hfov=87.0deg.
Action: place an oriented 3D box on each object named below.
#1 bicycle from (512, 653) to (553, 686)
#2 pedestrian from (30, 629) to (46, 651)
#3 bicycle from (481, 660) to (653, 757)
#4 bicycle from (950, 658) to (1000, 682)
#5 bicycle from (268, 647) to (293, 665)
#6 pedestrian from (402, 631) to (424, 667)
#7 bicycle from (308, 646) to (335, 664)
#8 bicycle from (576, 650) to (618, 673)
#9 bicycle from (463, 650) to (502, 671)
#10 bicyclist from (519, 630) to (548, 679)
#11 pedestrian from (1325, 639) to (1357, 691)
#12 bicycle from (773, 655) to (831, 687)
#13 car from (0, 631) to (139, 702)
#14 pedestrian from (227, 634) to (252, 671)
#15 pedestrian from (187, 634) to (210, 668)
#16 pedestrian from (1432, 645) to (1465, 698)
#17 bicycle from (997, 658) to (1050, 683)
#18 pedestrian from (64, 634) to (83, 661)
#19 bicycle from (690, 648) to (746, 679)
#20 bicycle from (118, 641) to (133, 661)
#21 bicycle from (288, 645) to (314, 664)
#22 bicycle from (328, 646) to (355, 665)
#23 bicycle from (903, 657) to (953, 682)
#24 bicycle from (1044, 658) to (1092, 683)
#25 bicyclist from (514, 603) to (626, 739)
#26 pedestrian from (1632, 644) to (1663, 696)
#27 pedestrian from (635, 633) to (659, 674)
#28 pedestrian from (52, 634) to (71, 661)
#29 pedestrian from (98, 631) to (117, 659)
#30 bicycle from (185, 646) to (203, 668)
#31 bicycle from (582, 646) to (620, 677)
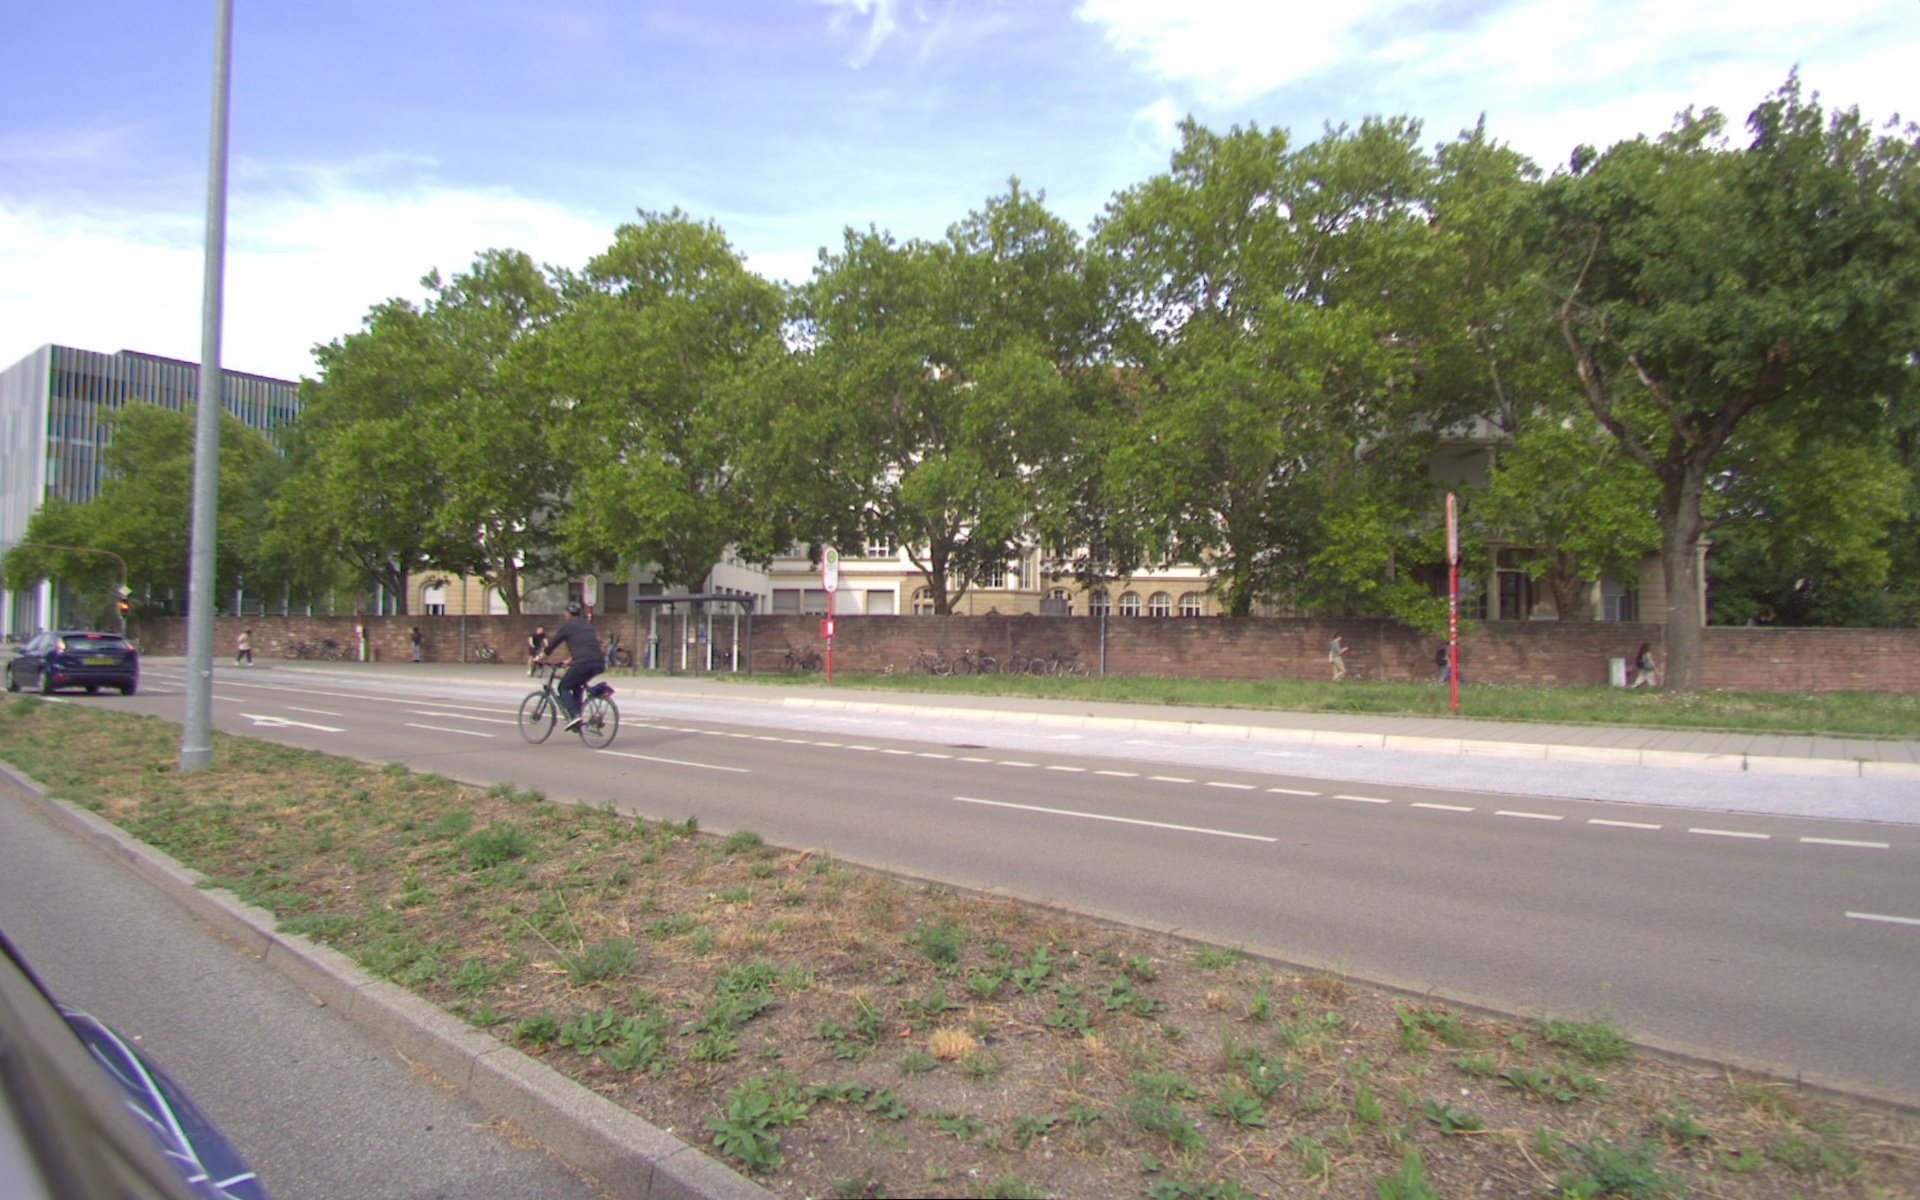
[{"bbox_3d":[-14.017,2.256,33.176,1.973,0.943,0.498,1,-1,45],"label":"bicycle"},{"bbox_3d":[-71.150,3.096,78.084,0.664,1.634,0.746,-1,-1,34],"label":"pedestrian"},{"bbox_3d":[-5.181,1.409,13.369,2.081,1.198,0.754,-1,-5,19],"label":"bicycle"},{"bbox_3d":[0.546,2.574,37.158,1.796,0.871,0.356,-1,-5,20],"label":"bicycle"},{"bbox_3d":[-35.321,2.891,52.603,1.569,0.894,0.429,-1,0,29],"label":"bicycle"},{"bbox_3d":[-25.365,2.274,46.937,0.656,1.634,0.755,0,-1,-1],"label":"pedestrian"},{"bbox_3d":[-32.188,2.760,51.032,1.569,0.894,0.429,-1,0,29],"label":"bicycle"},{"bbox_3d":[-15.239,2.587,42.479,1.564,0.894,0.657,-1,0,21],"label":"bicycle"},{"bbox_3d":[-21.277,2.678,45.122,1.564,0.894,0.657,-1,0,21],"label":"bicycle"},{"bbox_3d":[-13.971,1.778,33.141,0.798,1.567,0.572,1,-1,43],"label":"bicyclist"},{"bbox_3d":[12.404,2.102,32.993,0.769,1.667,0.579,0,-1,-12],"label":"pedestrian"},{"bbox_3d":[-6.085,2.737,38.977,2.081,1.198,0.754,-1,-5,19],"label":"bicycle"},{"bbox_3d":[-21.053,1.547,23.882,4.126,1.501,1.766,-1,-5,40],"label":"car"},{"bbox_3d":[-33.281,2.421,46.750,0.664,1.634,0.746,-1,-1,34],"label":"pedestrian"},{"bbox_3d":[-38.268,2.555,50.848,0.664,1.634,0.746,-1,-1,34],"label":"pedestrian"},{"bbox_3d":[15.851,2.306,32.828,0.768,1.667,0.579,0,-1,-20],"label":"pedestrian"},{"bbox_3d":[2.292,2.555,36.495,1.877,0.871,0.356,-1,-5,21],"label":"bicycle"},{"bbox_3d":[-55.504,2.952,63.362,0.664,1.634,0.746,-1,-1,34],"label":"pedestrian"},{"bbox_3d":[-9.637,2.536,40.341,2.081,1.198,0.754,-1,-5,19],"label":"bicycle"},{"bbox_3d":[-53.074,3.257,64.354,1.394,1.218,0.506,-1,-1,40],"label":"bicycle"},{"bbox_3d":[-33.660,2.776,51.711,1.569,0.894,0.429,-1,0,29],"label":"bicycle"},{"bbox_3d":[-30.546,2.737,50.001,1.569,0.894,0.429,-1,0,29],"label":"bicycle"},{"bbox_3d":[-1.192,2.590,37.730,1.807,0.871,0.357,0,-5,17],"label":"bicycle"},{"bbox_3d":[3.884,2.545,36.436,1.692,0.871,0.357,0,-5,15],"label":"bicycle"},{"bbox_3d":[-5.141,0.938,13.389,1.077,1.724,0.773,-1,-5,18],"label":"bicyclist"},{"bbox_3d":[22.481,2.282,33.096,0.622,1.667,0.531,0,-1,6],"label":"pedestrian"},{"bbox_3d":[-12.782,2.186,41.375,0.748,1.634,0.565,-1,-1,18],"label":"pedestrian"},{"bbox_3d":[-55.376,2.938,62.359,0.664,1.634,0.746,-1,-1,34],"label":"pedestrian"},{"bbox_3d":[-52.257,2.755,62.019,0.664,1.634,0.746,-1,-1,34],"label":"pedestrian"},{"bbox_3d":[-43.879,3.256,57.984,1.394,1.218,0.506,-1,-1,40],"label":"bicycle"},{"bbox_3d":[-14.506,2.511,40.972,0.748,1.198,2.098,1,-5,0],"label":"bicycle"}]
